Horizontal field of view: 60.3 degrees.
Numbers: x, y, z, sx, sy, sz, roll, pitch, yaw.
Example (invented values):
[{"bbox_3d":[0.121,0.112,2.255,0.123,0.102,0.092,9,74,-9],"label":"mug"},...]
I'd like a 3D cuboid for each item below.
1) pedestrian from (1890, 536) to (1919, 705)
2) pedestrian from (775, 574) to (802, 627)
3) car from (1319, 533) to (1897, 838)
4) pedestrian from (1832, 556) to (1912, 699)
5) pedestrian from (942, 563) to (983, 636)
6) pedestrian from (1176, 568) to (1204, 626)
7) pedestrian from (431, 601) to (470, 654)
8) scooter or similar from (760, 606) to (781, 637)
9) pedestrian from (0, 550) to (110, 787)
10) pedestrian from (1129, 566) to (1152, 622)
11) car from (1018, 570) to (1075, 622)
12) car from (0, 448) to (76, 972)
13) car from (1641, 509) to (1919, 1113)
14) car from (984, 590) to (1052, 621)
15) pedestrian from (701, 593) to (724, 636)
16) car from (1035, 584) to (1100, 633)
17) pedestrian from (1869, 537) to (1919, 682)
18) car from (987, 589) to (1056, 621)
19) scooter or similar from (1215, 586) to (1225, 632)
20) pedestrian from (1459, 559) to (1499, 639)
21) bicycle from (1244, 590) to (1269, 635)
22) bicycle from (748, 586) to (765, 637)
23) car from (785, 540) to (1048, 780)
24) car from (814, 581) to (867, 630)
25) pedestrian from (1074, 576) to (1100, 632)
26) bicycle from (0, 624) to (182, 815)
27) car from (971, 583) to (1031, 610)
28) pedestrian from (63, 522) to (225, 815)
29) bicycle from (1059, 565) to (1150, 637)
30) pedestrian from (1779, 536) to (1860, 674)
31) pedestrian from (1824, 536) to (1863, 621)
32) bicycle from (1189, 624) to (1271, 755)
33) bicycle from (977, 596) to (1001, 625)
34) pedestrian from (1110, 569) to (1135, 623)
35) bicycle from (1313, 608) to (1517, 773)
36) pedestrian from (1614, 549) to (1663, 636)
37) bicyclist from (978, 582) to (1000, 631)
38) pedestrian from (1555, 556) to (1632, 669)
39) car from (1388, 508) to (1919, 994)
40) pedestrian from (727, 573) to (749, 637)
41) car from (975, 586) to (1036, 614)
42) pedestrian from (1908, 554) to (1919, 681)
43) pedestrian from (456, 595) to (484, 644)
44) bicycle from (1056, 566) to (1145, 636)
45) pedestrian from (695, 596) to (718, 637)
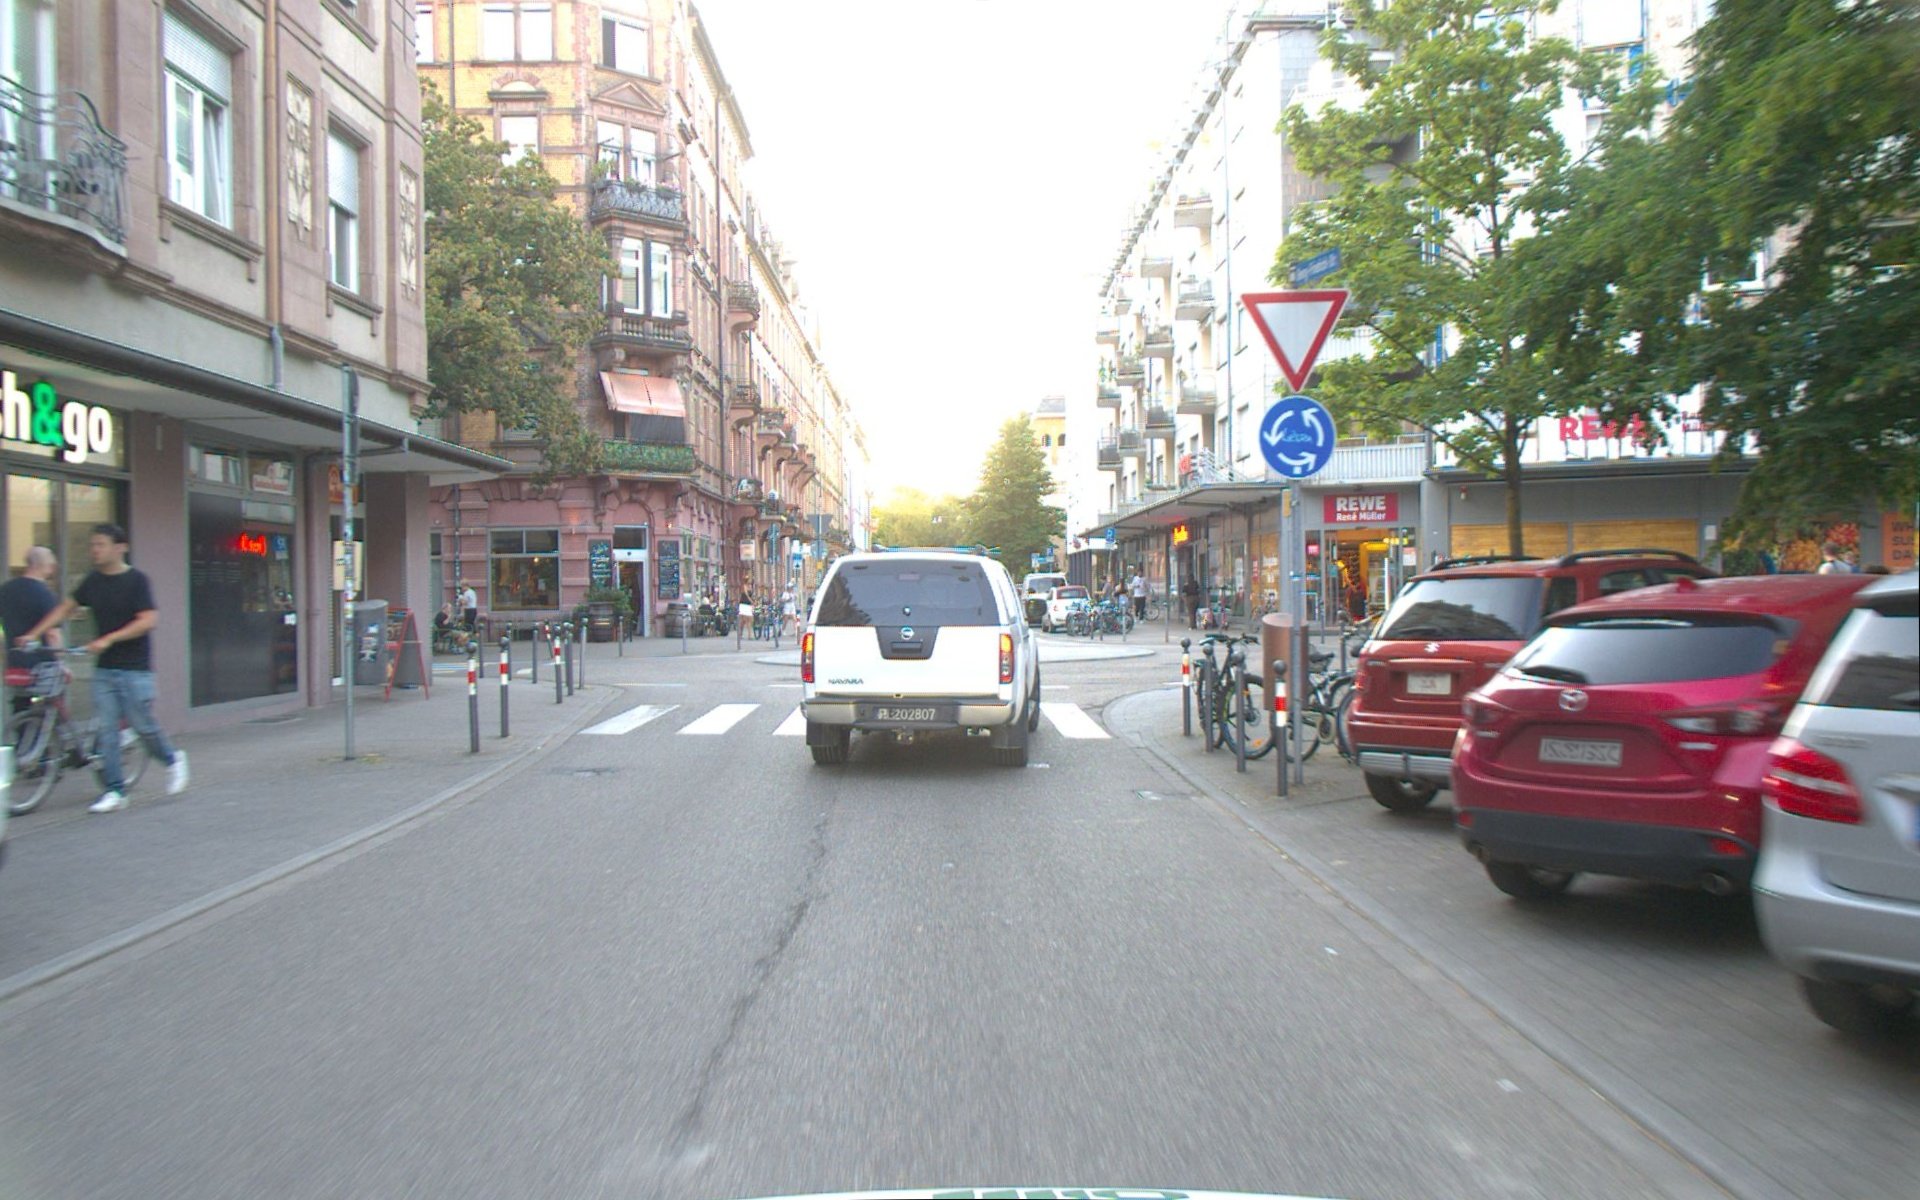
[{"bbox_3d":[8.436,0.176,14.185,0.626,1.434,0.512,1,-1,-13],"label":"pedestrian"},{"bbox_3d":[-5.399,0.009,52.000,0.782,1.649,0.944,1,0,-3],"label":"pedestrian"},{"bbox_3d":[4.510,0.443,11.327,3.999,1.656,1.674,-3,2,-33],"label":"car"},{"bbox_3d":[9.131,0.274,16.573,0.534,1.404,0.466,1,-1,-3],"label":"pedestrian"},{"bbox_3d":[0.064,-0.004,43.910,0.895,1.918,0.609,1,-1,-32],"label":"pedestrian"},{"bbox_3d":[6.752,-0.088,48.578,0.705,1.692,0.702,1,-1,0],"label":"pedestrian"},{"bbox_3d":[-12.509,0.669,40.640,0.739,1.284,0.668,1,0,-2],"label":"pedestrian"},{"bbox_3d":[-5.849,0.657,50.962,0.230,0.945,1.255,1,0,-25],"label":"scooter or similar"},{"bbox_3d":[-6.865,0.488,12.279,0.694,1.707,0.736,1,0,2],"label":"pedestrian"},{"bbox_3d":[6.412,-0.211,58.803,0.705,1.940,0.702,1,-1,-1],"label":"pedestrian"},{"bbox_3d":[3.324,-0.150,64.449,1.903,1.967,3.999,1,0,-2],"label":"car"},{"bbox_3d":[-4.541,0.426,4.170,2.067,1.955,5.023,0,0,-2],"label":"car"},{"bbox_3d":[4.395,0.452,5.554,4.176,1.650,1.910,-4,1,-35],"label":"car"},{"bbox_3d":[3.444,0.300,98.024,3.906,1.780,1.840,1,0,-2],"label":"car"},{"bbox_3d":[-7.593,0.453,50.813,0.636,1.308,0.539,1,-1,-5],"label":"pedestrian"},{"bbox_3d":[3.579,0.284,55.672,1.797,1.569,3.999,1,0,-2],"label":"car"},{"bbox_3d":[11.738,0.121,20.390,0.820,1.754,0.865,0,-1,37],"label":"pedestrian"},{"bbox_3d":[3.534,0.292,95.787,3.906,1.780,1.840,1,0,-2],"label":"car"},{"bbox_3d":[7.318,0.243,46.531,0.214,1.259,0.967,0,2,6],"label":"scooter or similar"},{"bbox_3d":[11.161,-0.020,35.562,0.702,1.680,0.712,0,-1,28],"label":"pedestrian"},{"bbox_3d":[7.599,0.319,42.390,0.284,1.132,0.963,1,0,-13],"label":"bicycle"},{"bbox_3d":[-5.983,0.340,48.689,0.415,1.468,1.902,1,0,-5],"label":"bicycle"},{"bbox_3d":[-0.206,0.393,15.239,1.897,1.841,5.004,0,1,4],"label":"car"},{"bbox_3d":[-4.437,0.207,61.804,1.797,1.780,3.999,1,0,-2],"label":"car"},{"bbox_3d":[3.854,0.119,50.333,0.705,1.692,0.702,1,-1,-1],"label":"pedestrian"},{"bbox_3d":[-5.942,0.755,11.159,0.461,1.162,1.785,1,0,3],"label":"bicycle"},{"bbox_3d":[2.706,-0.209,110.818,3.906,1.780,1.840,1,0,-2],"label":"car"},{"bbox_3d":[-5.418,0.438,11.032,0.525,1.855,0.997,1,-1,2],"label":"pedestrian"},{"bbox_3d":[4.208,0.021,48.207,2.593,2.049,0.638,1,-1,0],"label":"bicycle"},{"bbox_3d":[11.806,0.066,22.748,0.847,1.860,0.837,0,-1,17],"label":"pedestrian"},{"bbox_3d":[17.218,-0.412,32.228,0.651,1.629,0.716,0,-1,29],"label":"pedestrian"},{"bbox_3d":[2.374,0.761,14.678,0.357,1.082,1.551,1,0,-4],"label":"bicycle"},{"bbox_3d":[1.195,0.424,67.393,0.820,1.192,1.937,1,0,5],"label":"bicycle"},{"bbox_3d":[5.213,-0.131,53.048,0.705,1.692,0.702,1,-1,-1],"label":"pedestrian"},{"bbox_3d":[3.511,0.679,12.754,1.522,1.181,0.364,-2,0,-16],"label":"bicycle"},{"bbox_3d":[13.951,-0.149,34.005,0.715,1.756,0.657,1,-1,-39],"label":"pedestrian"},{"bbox_3d":[1.185,0.256,67.475,0.820,1.978,0.785,0,-1,6],"label":"bicyclist"},{"bbox_3d":[10.325,0.200,26.982,0.849,1.801,0.947,1,0,-6],"label":"pedestrian"},{"bbox_3d":[4.153,0.446,7.984,4.185,1.717,1.906,-4,2,-39],"label":"car"},{"bbox_3d":[-6.505,0.143,48.493,0.497,1.872,0.569,1,-1,-24],"label":"pedestrian"},{"bbox_3d":[2.963,0.000,107.857,3.906,1.780,1.840,1,0,-2],"label":"car"},{"bbox_3d":[10.045,0.182,16.781,0.533,1.291,0.574,1,0,0],"label":"pedestrian"},{"bbox_3d":[-12.901,0.505,43.570,0.446,1.284,0.575,0,-1,23],"label":"pedestrian"},{"bbox_3d":[4.157,0.024,49.021,2.593,2.049,0.638,1,-1,0],"label":"bicycle"},{"bbox_3d":[-7.605,0.497,49.626,0.636,1.211,0.539,1,0,-5],"label":"pedestrian"}]
